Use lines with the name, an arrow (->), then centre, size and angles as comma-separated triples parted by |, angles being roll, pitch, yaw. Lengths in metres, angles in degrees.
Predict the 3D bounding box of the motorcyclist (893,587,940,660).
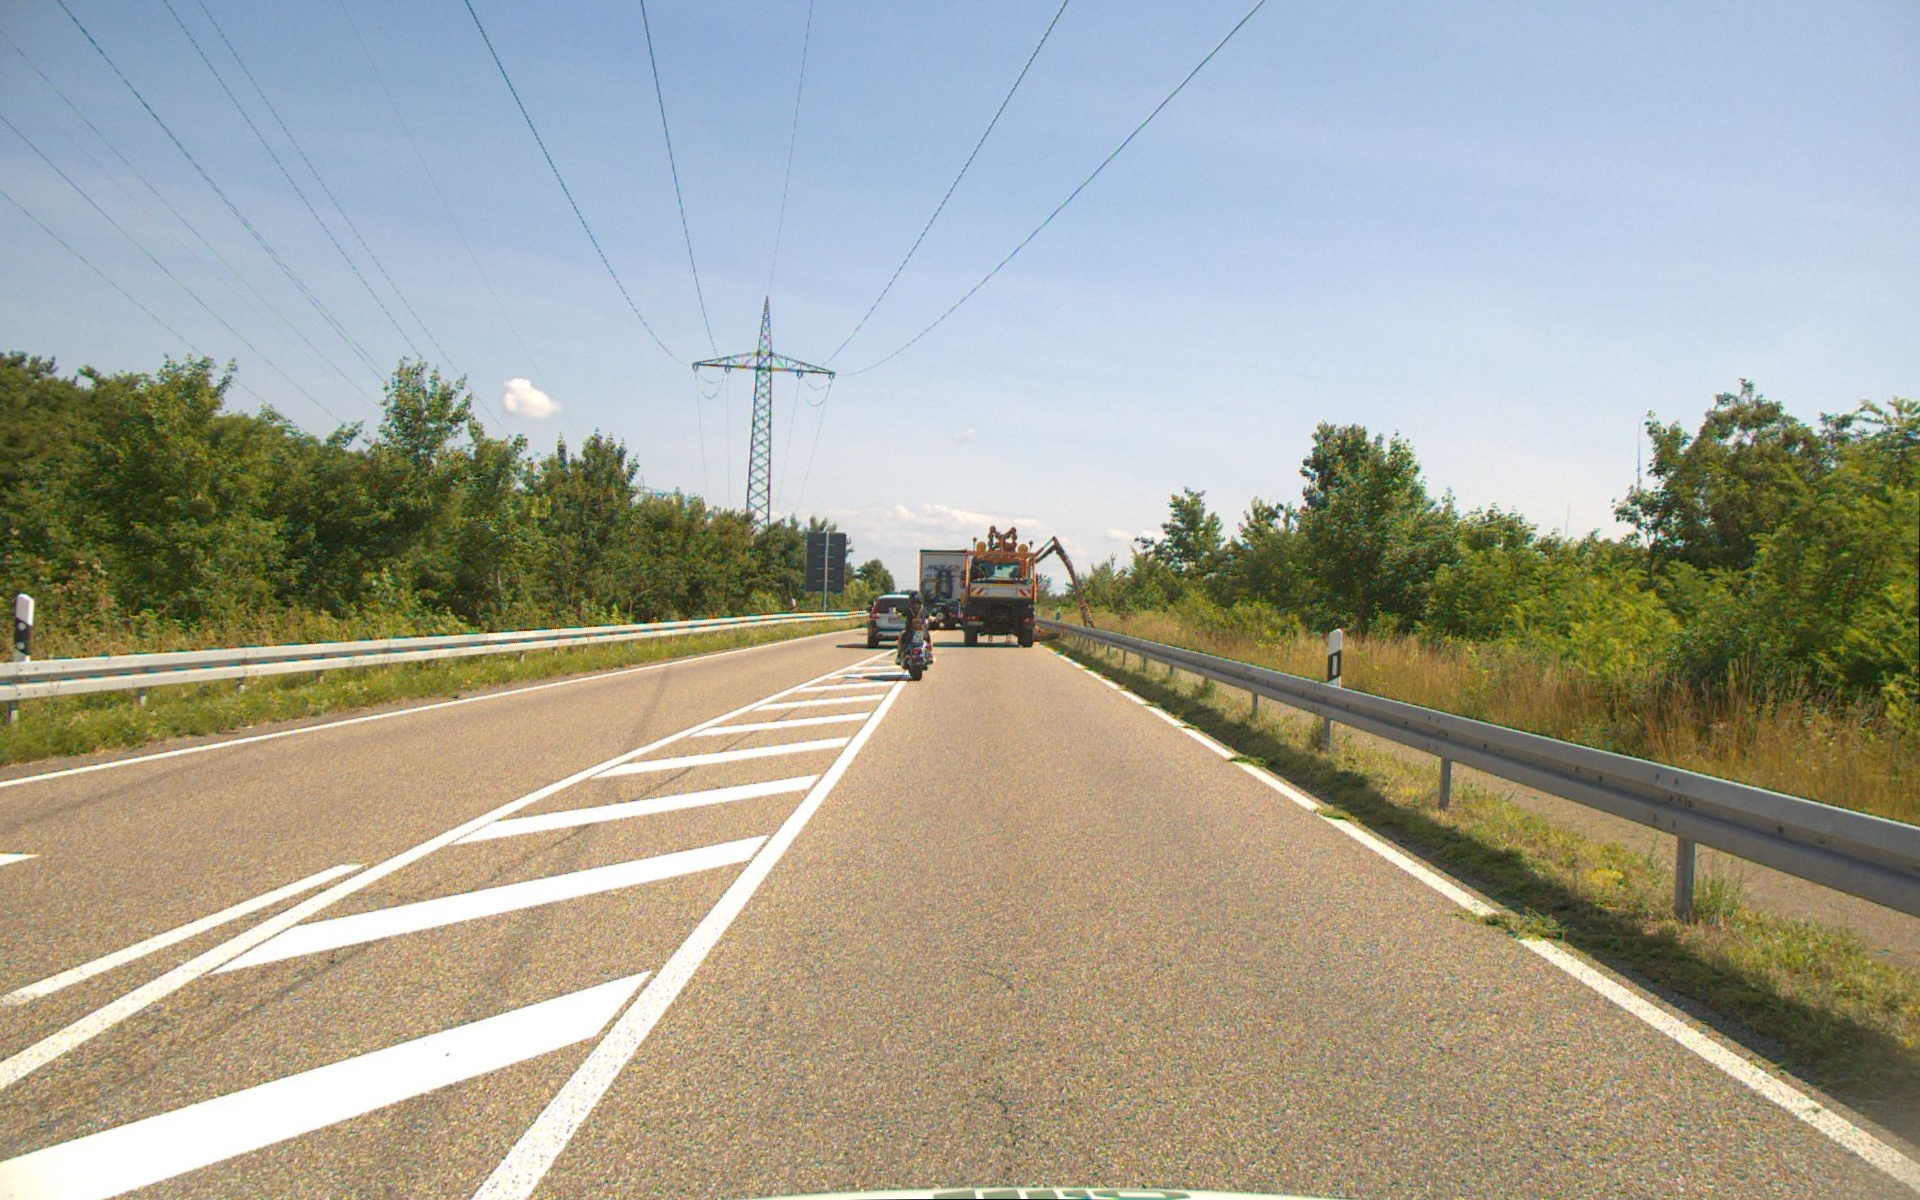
motorcyclist -> -0.784, 0.421, 30.131 | 0.820, 1.303, 0.919 | 1, 0, -1

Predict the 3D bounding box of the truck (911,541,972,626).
truck -> -0.885, -0.860, 91.941 | 2.907, 4.260, 14.823 | 1, 0, 1

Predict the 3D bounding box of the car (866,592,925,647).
car -> -1.915, 0.561, 49.566 | 1.667, 1.563, 3.497 | 1, 0, -2

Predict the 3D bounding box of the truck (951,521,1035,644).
truck -> 1.081, -0.551, 54.995 | 2.560, 3.776, 6.778 | 1, 0, 1

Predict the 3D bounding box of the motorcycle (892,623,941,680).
motorcycle -> -0.786, 0.916, 30.028 | 0.841, 0.931, 2.227 | 1, 0, -1
